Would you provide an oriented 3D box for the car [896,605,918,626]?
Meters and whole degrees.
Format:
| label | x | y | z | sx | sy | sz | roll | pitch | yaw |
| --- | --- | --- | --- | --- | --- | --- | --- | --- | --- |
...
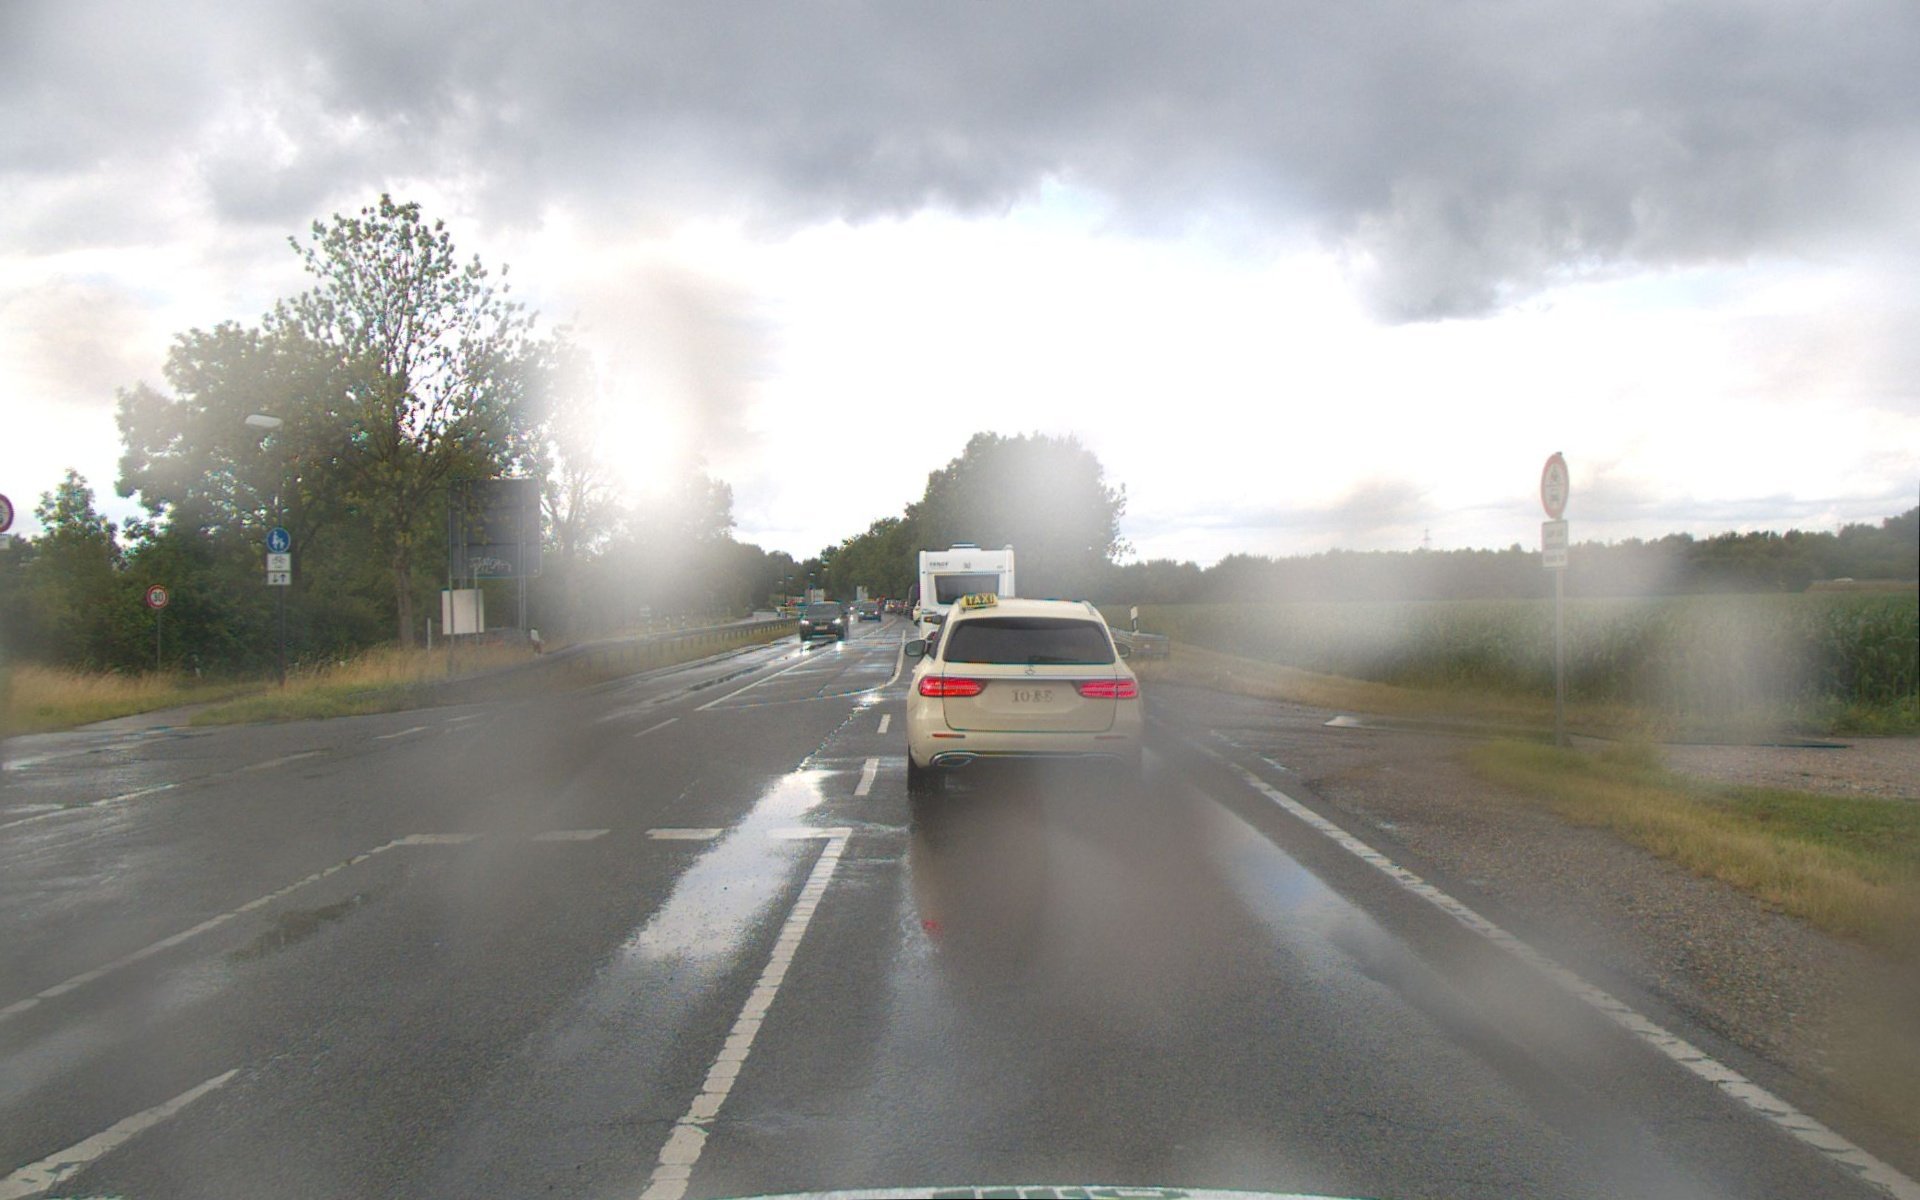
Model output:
| label | x | y | z | sx | sy | sz | roll | pitch | yaw |
| --- | --- | --- | --- | --- | --- | --- | --- | --- | --- |
| car | -4.554 | 1.327 | 142.912 | 1.755 | 1.808 | 3.720 | -1 | 0 | -1 |

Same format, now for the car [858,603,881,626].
| label | x | y | z | sx | sy | sz | roll | pitch | yaw |
| --- | --- | --- | --- | --- | --- | --- | --- | --- | --- |
| car | -6.665 | 1.064 | 121.971 | 1.548 | 1.668 | 3.441 | -1 | 0 | -1 |

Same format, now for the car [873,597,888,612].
| label | x | y | z | sx | sy | sz | roll | pitch | yaw |
| --- | --- | --- | --- | --- | --- | --- | --- | --- | --- |
| car | -10.046 | 0.553 | 208.830 | 1.858 | 1.928 | 3.840 | -1 | 0 | -4 |

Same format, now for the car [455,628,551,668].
| label | x | y | z | sx | sy | sz | roll | pitch | yaw |
| --- | --- | --- | --- | --- | --- | --- | --- | --- | --- |
| car | -19.347 | 2.003 | 70.258 | 2.253 | 1.574 | 4.636 | 1 | 0 | 7 |

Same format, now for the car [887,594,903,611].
| label | x | y | z | sx | sy | sz | roll | pitch | yaw |
| --- | --- | --- | --- | --- | --- | --- | --- | --- | --- |
| car | -7.486 | 0.293 | 190.537 | 1.705 | 1.892 | 3.784 | -1 | 0 | -1 |

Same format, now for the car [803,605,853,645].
| label | x | y | z | sx | sy | sz | roll | pitch | yaw |
| --- | --- | --- | --- | --- | --- | --- | --- | --- | --- |
| car | -5.491 | 1.032 | 69.111 | 1.791 | 1.601 | 3.999 | 1 | 0 | 0 |

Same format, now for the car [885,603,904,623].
| label | x | y | z | sx | sy | sz | roll | pitch | yaw |
| --- | --- | --- | --- | --- | --- | --- | --- | --- | --- |
| car | -6.701 | 1.339 | 169.876 | 1.814 | 2.049 | 3.810 | -1 | 0 | -1 |

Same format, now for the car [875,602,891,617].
| label | x | y | z | sx | sy | sz | roll | pitch | yaw |
| --- | --- | --- | --- | --- | --- | --- | --- | --- | --- |
| car | -9.318 | 1.127 | 199.972 | 1.714 | 1.691 | 3.669 | 0 | 0 | -4 |

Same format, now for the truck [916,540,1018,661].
| label | x | y | z | sx | sy | sz | roll | pitch | yaw |
| --- | --- | --- | --- | --- | --- | --- | --- | --- | --- |
| truck | 0.116 | 0.010 | 42.002 | 2.315 | 2.776 | 7.313 | -1 | 0 | -1 |

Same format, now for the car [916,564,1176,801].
| label | x | y | z | sx | sy | sz | roll | pitch | yaw |
| --- | --- | --- | --- | --- | --- | --- | --- | --- | --- |
| car | 0.577 | 0.585 | 13.564 | 1.805 | 1.646 | 3.999 | 0 | 0 | -1 |

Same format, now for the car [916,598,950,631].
| label | x | y | z | sx | sy | sz | roll | pitch | yaw |
| --- | --- | --- | --- | --- | --- | --- | --- | --- | --- |
| car | -1.552 | 0.841 | 97.305 | 1.876 | 1.873 | 3.795 | -1 | 0 | 0 |

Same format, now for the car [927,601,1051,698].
| label | x | y | z | sx | sy | sz | roll | pitch | yaw |
| --- | --- | --- | --- | --- | --- | --- | --- | --- | --- |
| car | 0.439 | 0.807 | 28.550 | 1.953 | 1.488 | 3.999 | 2 | 0 | -1 |
